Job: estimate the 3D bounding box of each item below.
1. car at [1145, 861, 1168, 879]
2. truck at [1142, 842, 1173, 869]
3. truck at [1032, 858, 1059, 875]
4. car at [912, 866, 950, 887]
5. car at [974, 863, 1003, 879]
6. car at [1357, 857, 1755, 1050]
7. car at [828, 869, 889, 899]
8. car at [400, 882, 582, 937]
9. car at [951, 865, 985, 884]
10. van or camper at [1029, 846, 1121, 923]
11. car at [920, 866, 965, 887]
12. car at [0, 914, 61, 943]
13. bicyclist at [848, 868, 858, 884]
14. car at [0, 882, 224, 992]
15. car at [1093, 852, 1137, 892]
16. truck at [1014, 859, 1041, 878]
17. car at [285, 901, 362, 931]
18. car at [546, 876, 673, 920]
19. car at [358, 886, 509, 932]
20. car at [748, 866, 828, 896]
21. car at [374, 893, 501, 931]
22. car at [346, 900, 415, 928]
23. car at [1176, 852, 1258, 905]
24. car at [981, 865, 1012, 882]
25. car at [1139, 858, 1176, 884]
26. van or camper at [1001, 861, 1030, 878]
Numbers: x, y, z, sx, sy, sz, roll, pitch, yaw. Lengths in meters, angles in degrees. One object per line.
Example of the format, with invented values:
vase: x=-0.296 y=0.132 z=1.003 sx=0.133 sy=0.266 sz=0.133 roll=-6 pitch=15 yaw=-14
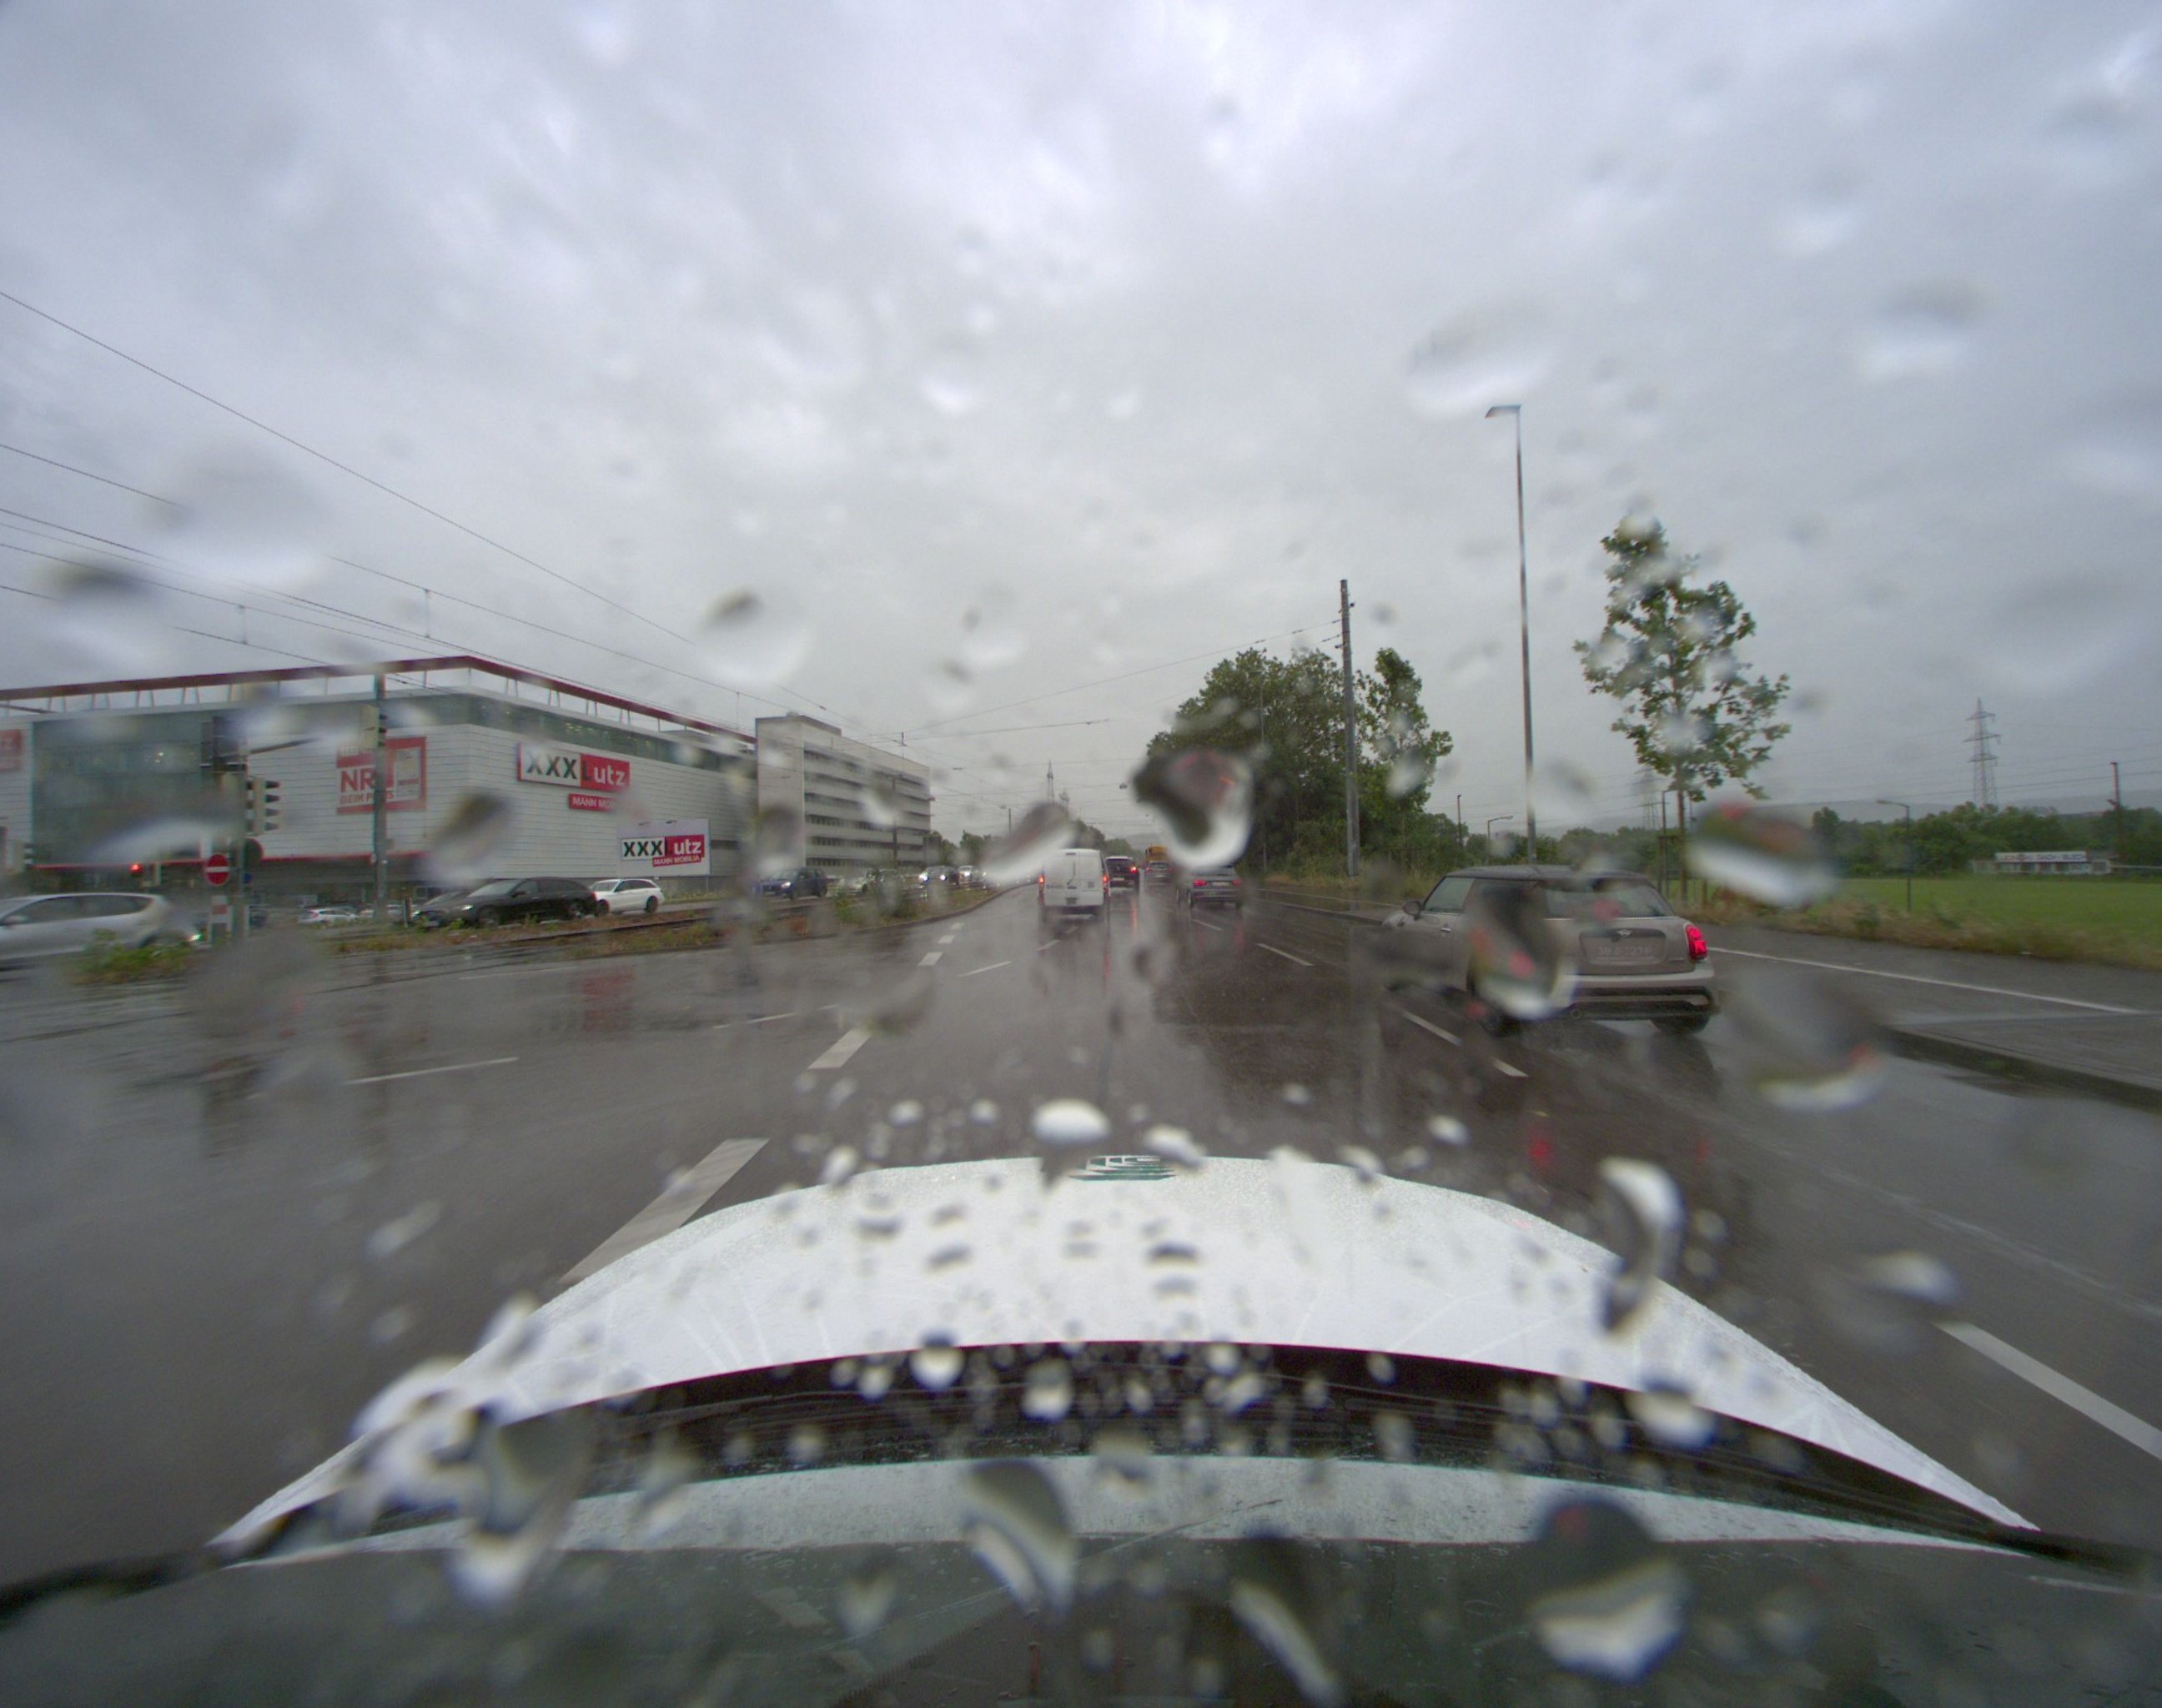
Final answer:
car: x=6.593 y=1.369 z=71.043 sx=1.808 sy=1.414 sz=3.787 roll=-1 pitch=0 yaw=8
truck: x=8.353 y=0.187 z=88.111 sx=3.096 sy=2.773 sz=6.341 roll=-1 pitch=0 yaw=7
truck: x=-5.251 y=1.835 z=121.208 sx=2.419 sy=2.458 sz=7.240 roll=0 pitch=-1 yaw=11
car: x=-13.264 y=1.973 z=72.162 sx=1.897 sy=1.606 sz=4.851 roll=1 pitch=0 yaw=7
car: x=-10.045 y=1.848 z=88.717 sx=1.952 sy=1.516 sz=4.565 roll=-4 pitch=-1 yaw=8
car: x=4.236 y=0.759 z=8.080 sx=1.784 sy=1.414 sz=3.855 roll=-1 pitch=0 yaw=2
car: x=-12.791 y=1.703 z=47.143 sx=1.700 sy=1.535 sz=4.061 roll=0 pitch=1 yaw=12
car: x=-16.564 y=1.505 z=23.145 sx=1.700 sy=1.249 sz=4.061 roll=0 pitch=1 yaw=12
car: x=-11.222 y=2.009 z=81.274 sx=1.982 sy=1.834 sz=4.703 roll=-2 pitch=-1 yaw=8
van or camper: x=-0.041 y=0.688 z=20.853 sx=1.984 sy=1.784 sz=4.006 roll=0 pitch=1 yaw=5
car: x=-10.643 y=1.695 z=62.936 sx=1.911 sy=1.423 sz=5.096 roll=0 pitch=1 yaw=9
car: x=-85.015 y=5.965 z=64.998 sx=1.984 sy=2.014 sz=4.005 roll=0 pitch=-1 yaw=5
bicyclist: x=-22.680 y=2.163 z=81.103 sx=0.667 sy=1.589 sz=0.793 roll=0 pitch=-1 yaw=7
car: x=-18.875 y=1.462 z=14.690 sx=1.701 sy=1.708 sz=4.443 roll=0 pitch=1 yaw=11
car: x=1.581 y=0.799 z=37.839 sx=1.892 sy=1.717 sz=4.728 roll=-1 pitch=0 yaw=2
truck: x=-7.192 y=1.989 z=111.002 sx=2.213 sy=2.462 sz=6.084 roll=0 pitch=-1 yaw=11
car: x=-58.577 y=4.744 z=63.052 sx=1.984 sy=2.014 sz=4.005 roll=0 pitch=-1 yaw=5
car: x=-18.746 y=1.698 z=32.657 sx=1.801 sy=1.436 sz=4.725 roll=0 pitch=1 yaw=9
car: x=-22.116 y=1.826 z=28.019 sx=1.571 sy=1.249 sz=3.928 roll=0 pitch=1 yaw=12
car: x=-14.065 y=1.285 z=39.374 sx=1.702 sy=1.249 sz=4.472 roll=0 pitch=1 yaw=8
car: x=-27.338 y=2.421 z=34.784 sx=1.700 sy=1.249 sz=4.061 roll=0 pitch=1 yaw=12
car: x=-58.229 y=4.936 z=67.786 sx=1.984 sy=2.014 sz=4.005 roll=0 pitch=-1 yaw=5
car: x=4.198 y=0.718 z=25.726 sx=1.961 sy=1.528 sz=3.991 roll=-1 pitch=0 yaw=0
car: x=-8.142 y=1.862 z=78.993 sx=1.862 sy=1.573 sz=4.339 roll=0 pitch=1 yaw=9
car: x=4.459 y=0.947 z=47.775 sx=1.812 sy=1.414 sz=3.778 roll=-1 pitch=0 yaw=0
van or camper: x=-8.124 y=1.927 z=101.652 sx=2.291 sy=2.014 sz=5.700 roll=0 pitch=-1 yaw=9
